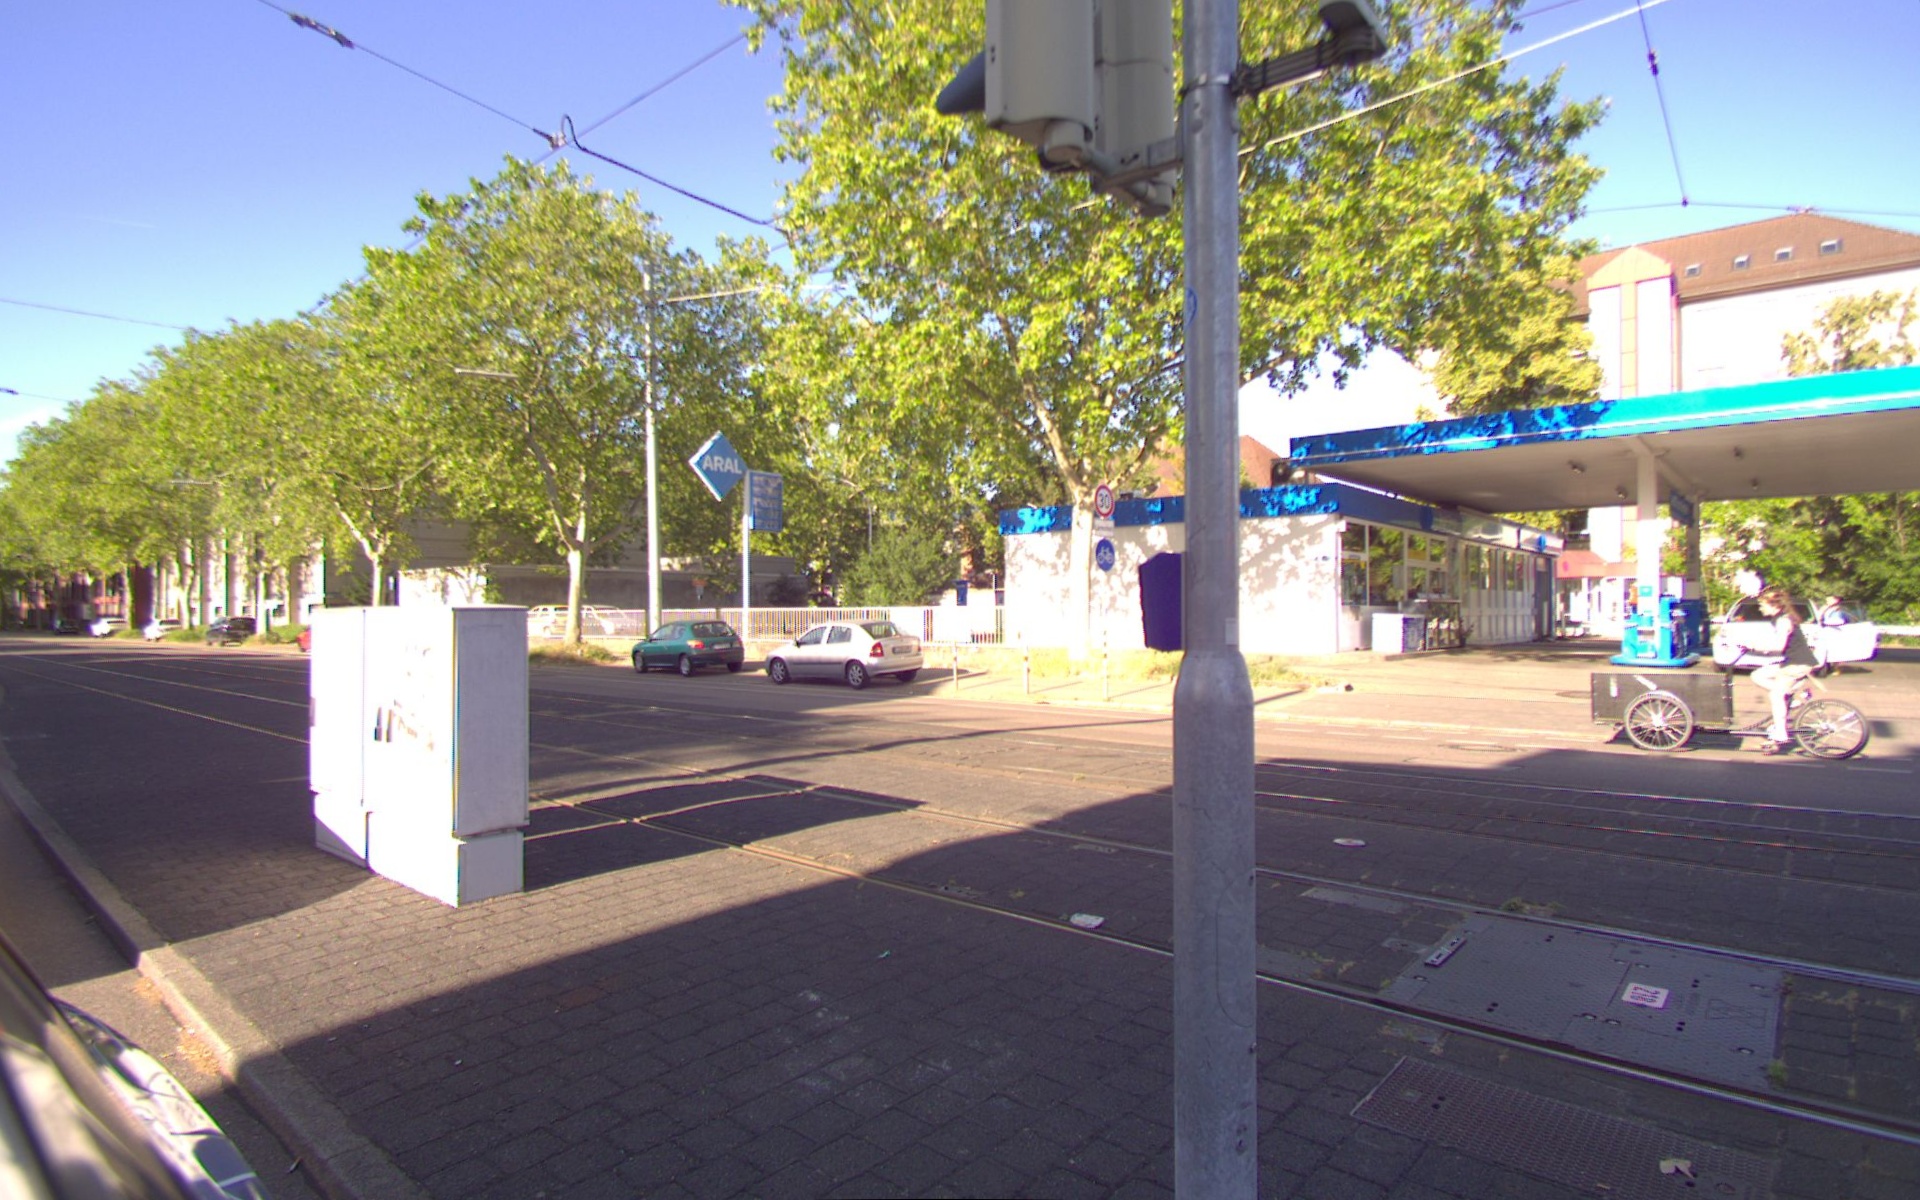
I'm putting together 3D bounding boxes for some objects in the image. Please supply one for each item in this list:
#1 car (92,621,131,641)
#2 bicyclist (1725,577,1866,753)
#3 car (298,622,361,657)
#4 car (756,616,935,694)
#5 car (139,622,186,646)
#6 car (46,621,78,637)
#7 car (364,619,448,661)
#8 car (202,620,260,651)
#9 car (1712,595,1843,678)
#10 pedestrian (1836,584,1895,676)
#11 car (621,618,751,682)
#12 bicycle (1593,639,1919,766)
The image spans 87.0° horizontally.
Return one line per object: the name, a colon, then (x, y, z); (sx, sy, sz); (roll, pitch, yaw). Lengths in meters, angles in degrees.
car: (-66.683, 2.419, 79.515); (3.998, 1.525, 1.779); (-1, -1, 41)
bicyclist: (8.389, 0.626, 10.186); (1.027, 1.650, 0.922); (-2, -1, 41)
car: (-28.552, 1.762, 45.787); (3.045, 1.519, 1.620); (-1, -1, 41)
car: (-2.626, 1.165, 22.651); (3.965, 1.475, 1.771); (-1, 2, 43)
car: (-53.718, 2.281, 68.150); (3.998, 1.509, 1.779); (-1, -1, 41)
car: (-85.323, 2.752, 96.102); (3.998, 1.525, 1.779); (-1, -1, 41)
car: (-21.938, 1.561, 40.040); (3.652, 1.541, 1.802); (-1, -1, 41)
car: (-40.752, 1.966, 56.577); (3.998, 1.674, 1.779); (-1, -1, 41)
car: (16.031, 0.680, 19.898); (1.812, 1.453, 3.947); (-1, -1, 39)
pedestrian: (17.199, 0.557, 19.241); (0.760, 1.705, 0.579); (-1, -2, 37)
car: (-7.324, 1.284, 26.921); (3.519, 1.475, 1.670); (-1, 2, 43)
bicycle: (8.087, 0.978, 10.420); (2.518, 1.110, 1.045); (-1, -1, 41)
